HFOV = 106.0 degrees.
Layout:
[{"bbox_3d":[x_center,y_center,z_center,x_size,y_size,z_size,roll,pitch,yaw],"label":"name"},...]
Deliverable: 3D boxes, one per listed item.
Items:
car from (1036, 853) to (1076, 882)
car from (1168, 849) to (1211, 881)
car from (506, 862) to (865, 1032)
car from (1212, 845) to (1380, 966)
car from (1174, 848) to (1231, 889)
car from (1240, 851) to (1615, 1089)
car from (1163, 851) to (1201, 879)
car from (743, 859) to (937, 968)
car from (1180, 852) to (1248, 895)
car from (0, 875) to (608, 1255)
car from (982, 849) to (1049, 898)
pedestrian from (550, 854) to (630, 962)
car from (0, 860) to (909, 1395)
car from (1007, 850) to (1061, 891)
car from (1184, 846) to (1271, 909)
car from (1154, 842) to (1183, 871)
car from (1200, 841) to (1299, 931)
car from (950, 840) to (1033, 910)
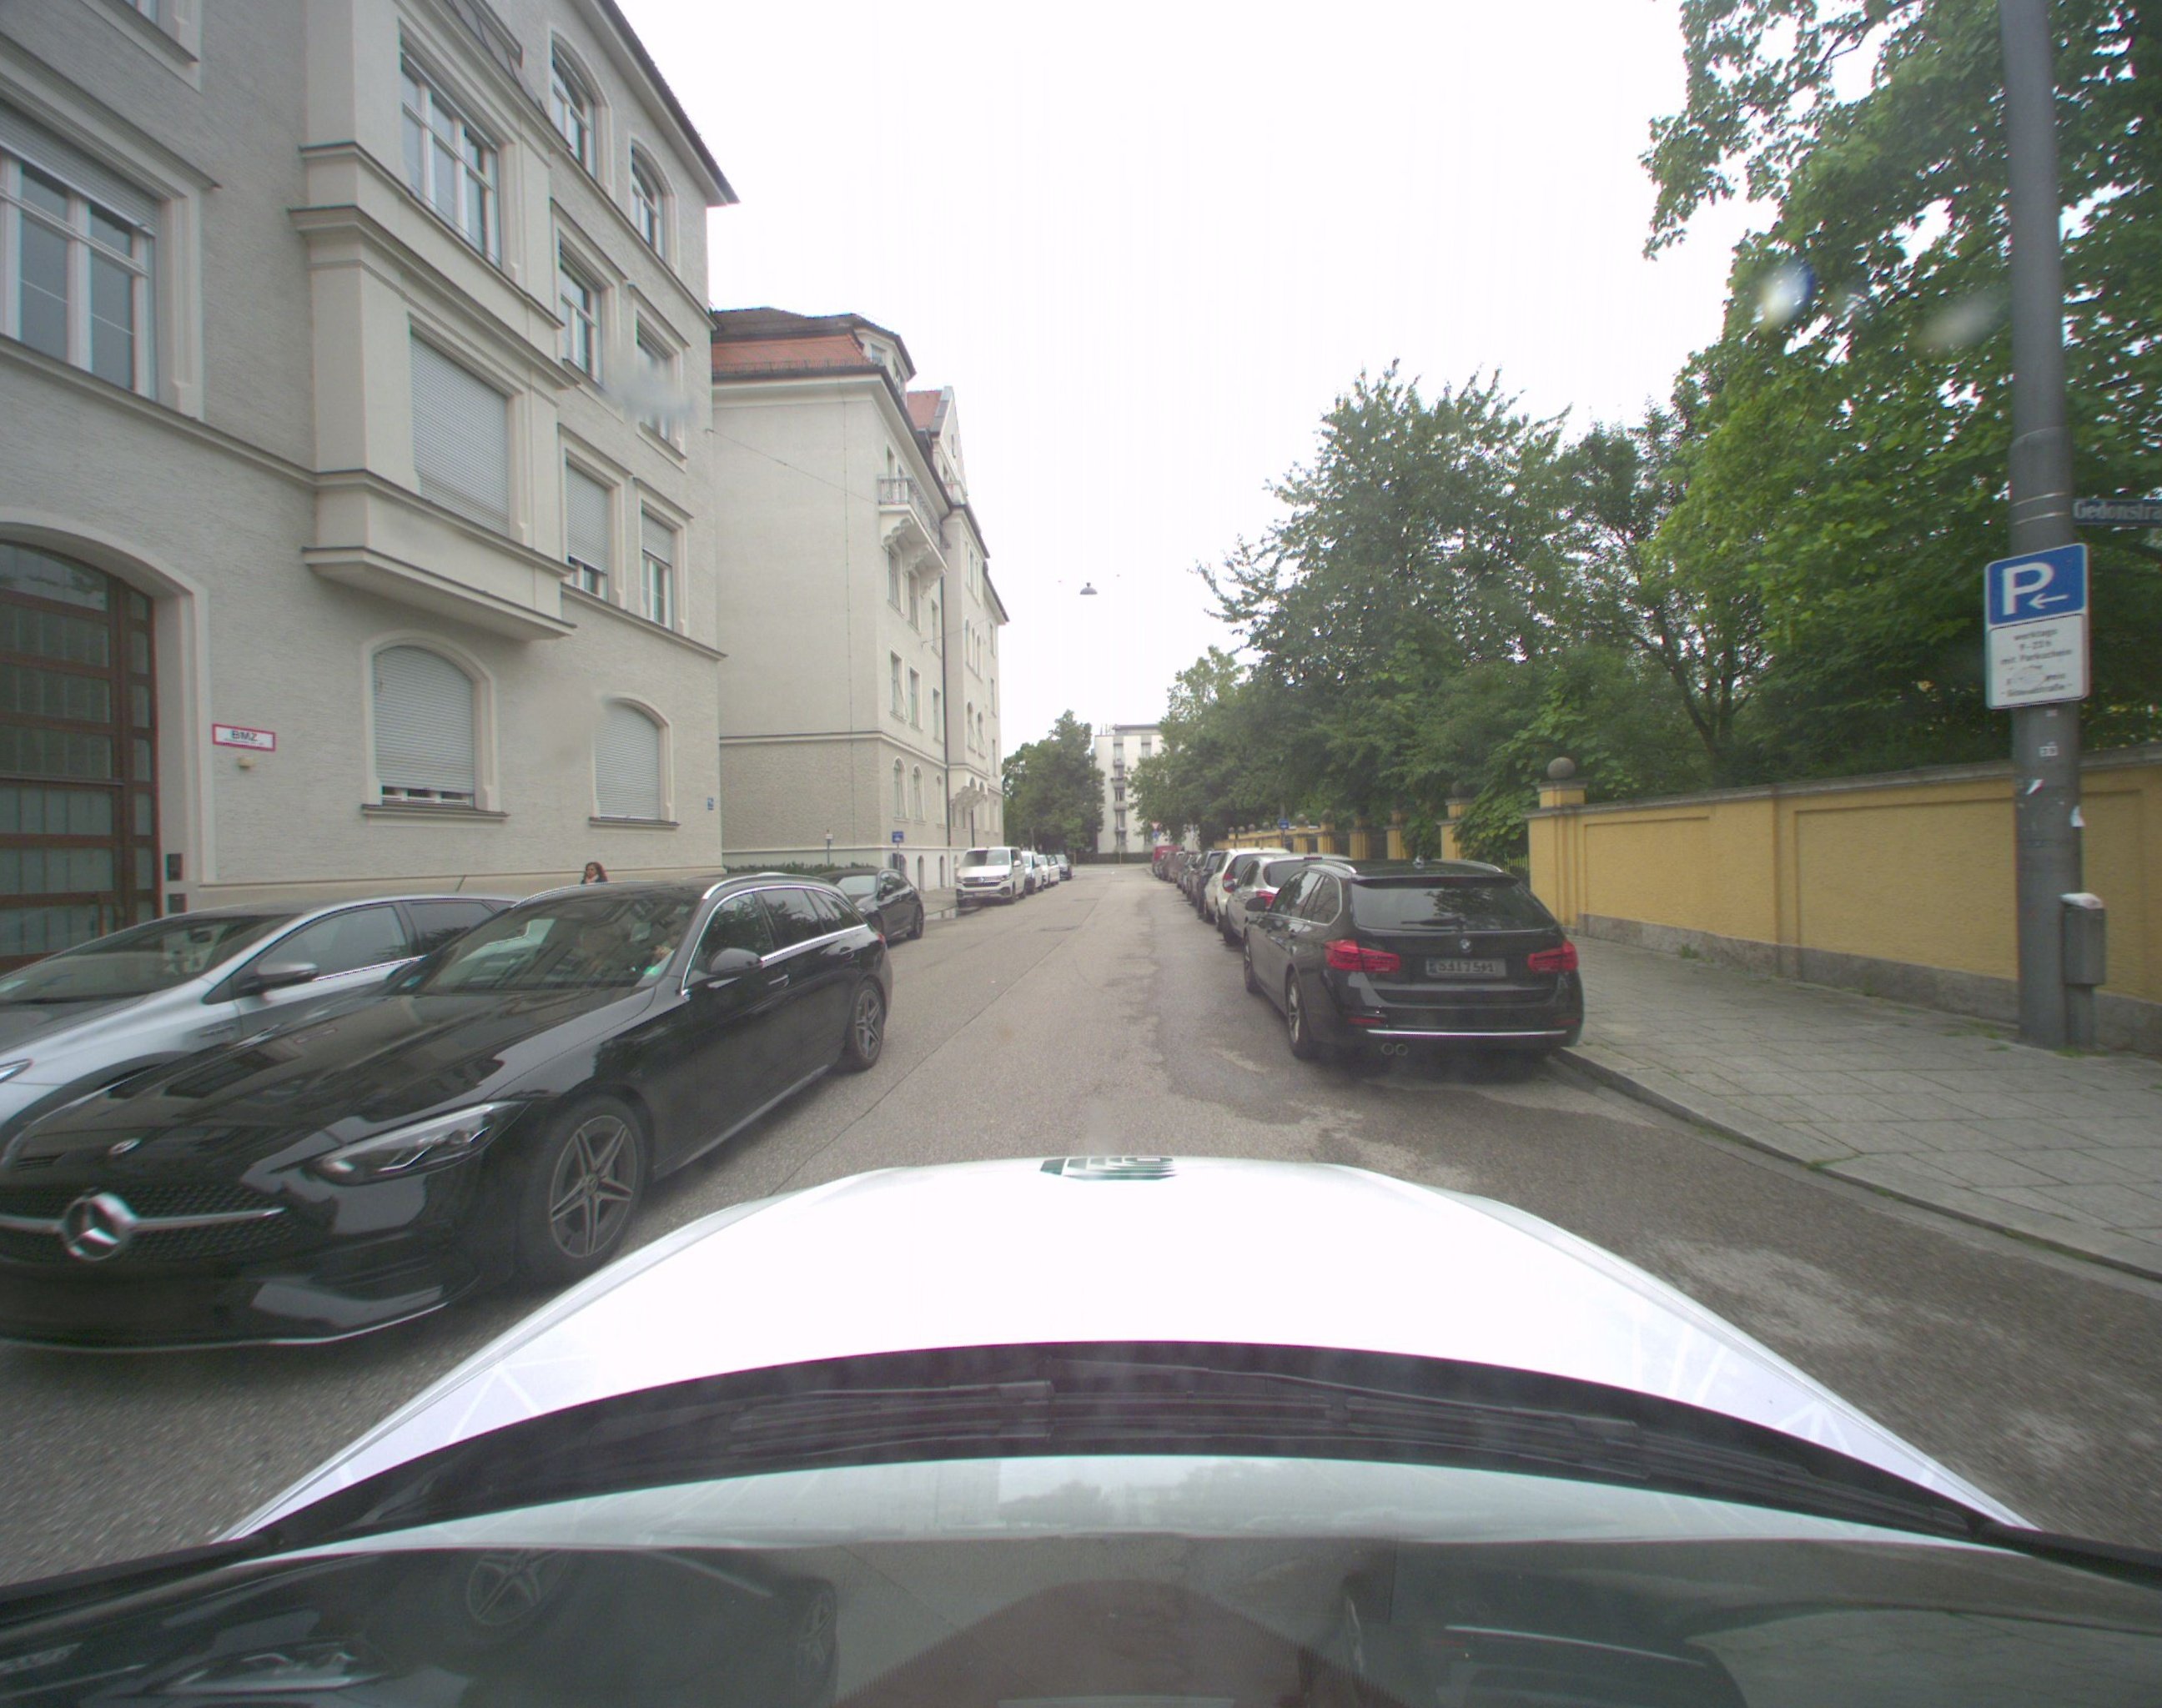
[{"bbox_3d":[-1.552,0.830,52.134,2.006,1.634,4.419,-4,0,4],"label":"car"},{"bbox_3d":[5.462,0.554,41.304,1.831,1.519,3.950,0,0,3],"label":"car"},{"bbox_3d":[-4.405,0.929,9.982,1.827,1.438,4.283,-4,0,7],"label":"car"},{"bbox_3d":[2.997,0.657,12.102,1.646,1.519,3.797,0,0,3],"label":"car"},{"bbox_3d":[4.777,0.566,32.460,1.831,1.519,3.950,0,0,3],"label":"car"},{"bbox_3d":[2.492,0.704,7.083,1.829,1.413,4.350,0,0,6],"label":"car"},{"bbox_3d":[5.585,0.605,45.502,1.831,1.519,3.950,0,0,3],"label":"car"},{"bbox_3d":[-4.132,0.949,14.804,1.828,1.499,4.280,-4,0,5],"label":"car"},{"bbox_3d":[4.404,0.610,27.549,1.831,1.346,3.950,0,0,3],"label":"car"},{"bbox_3d":[-5.189,0.969,5.132,1.717,1.499,3.938,-3,-1,7],"label":"car"},{"bbox_3d":[-2.698,0.773,34.607,2.006,1.771,4.419,-4,0,4],"label":"car"},{"bbox_3d":[-7.877,0.843,13.086,0.788,1.679,0.701,-1,0,5],"label":"pedestrian"},{"bbox_3d":[-2.572,0.829,4.556,1.865,1.428,4.415,-3,0,5],"label":"car"},{"bbox_3d":[-2.256,0.765,40.405,2.006,1.726,4.280,-4,0,4],"label":"car"},{"bbox_3d":[3.853,0.588,22.061,1.831,1.551,3.950,0,0,3],"label":"car"},{"bbox_3d":[6.202,0.148,57.411,1.826,1.926,4.014,1,1,8],"label":"car"},{"bbox_3d":[3.369,0.599,16.826,1.507,1.661,3.678,0,0,4],"label":"car"},{"bbox_3d":[-3.023,0.664,28.472,1.878,2.127,4.712,-4,0,4],"label":"car"}]
